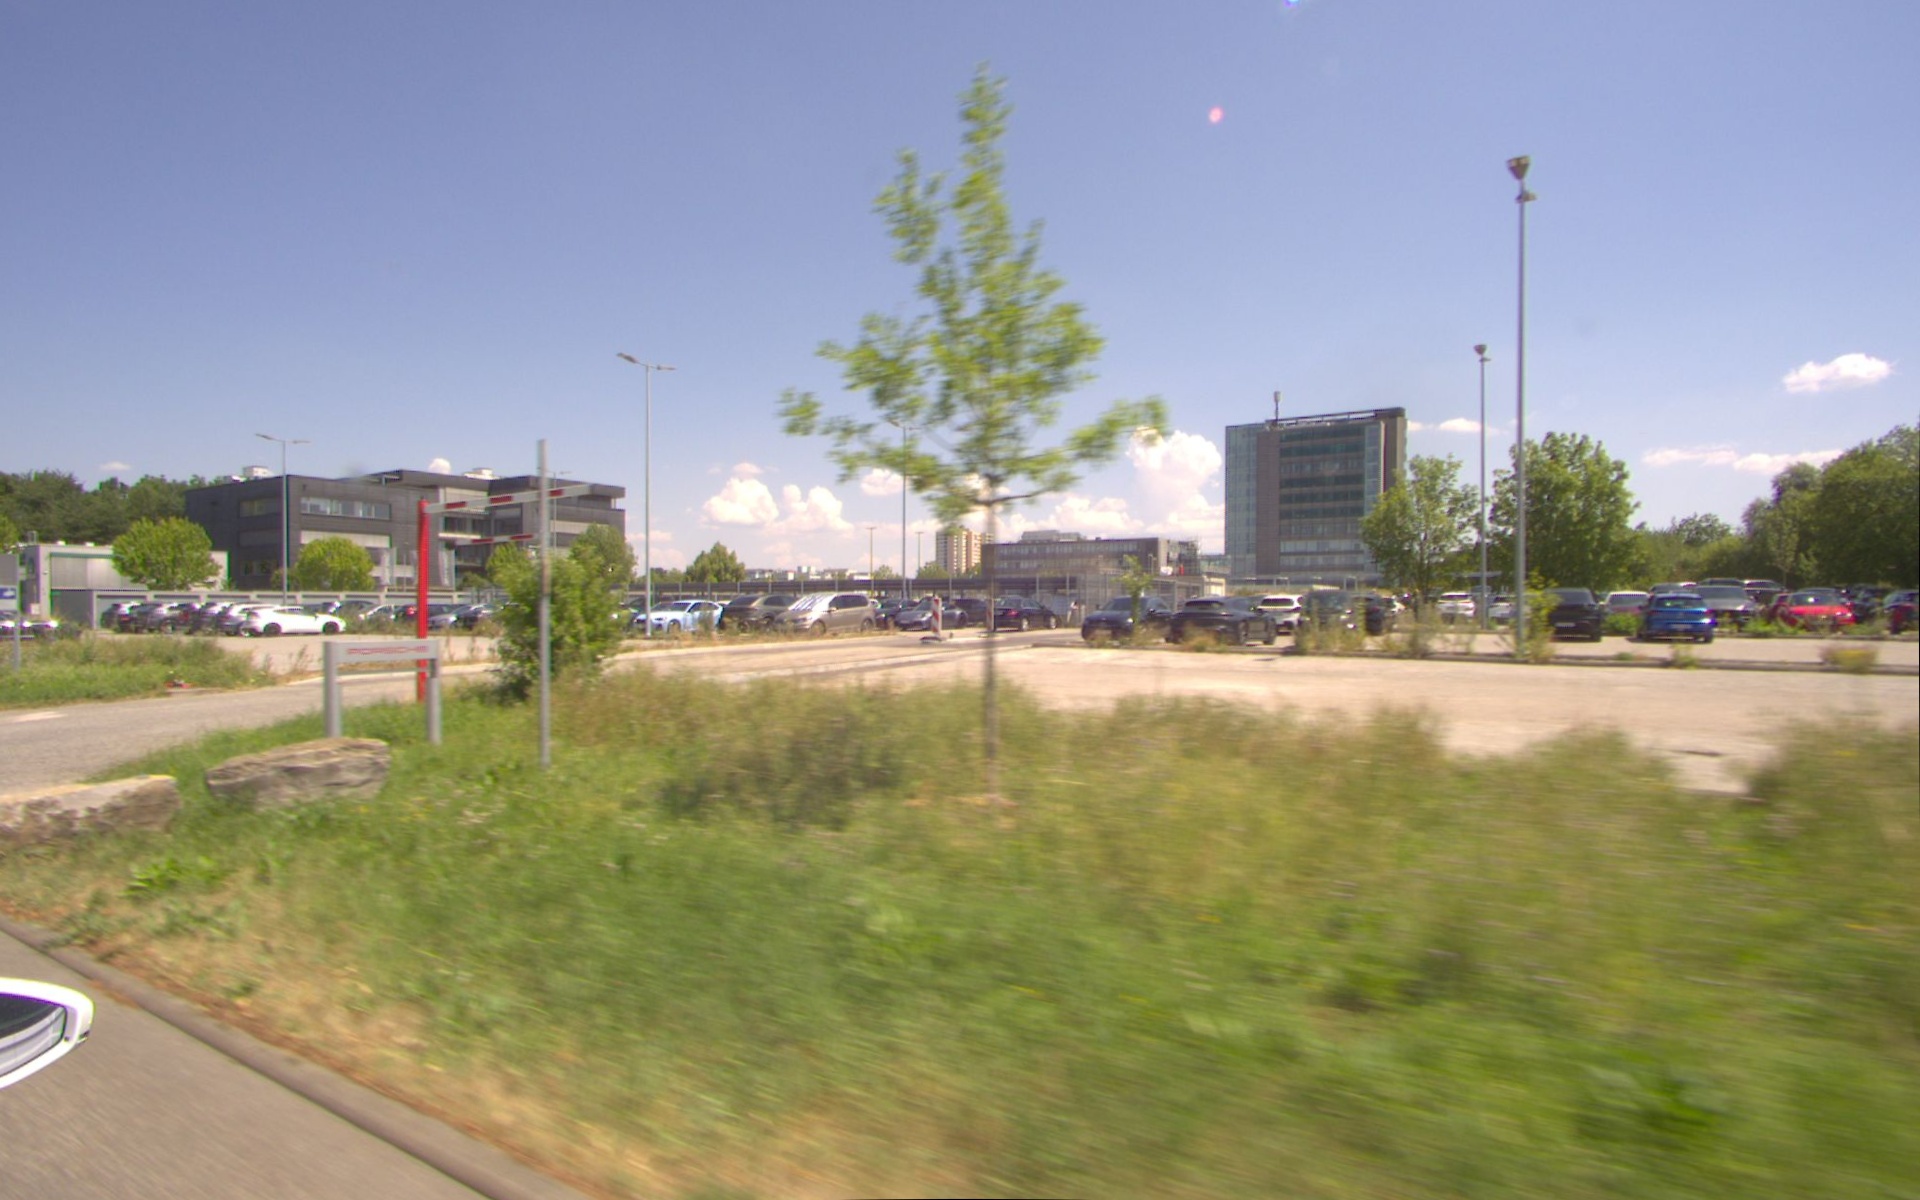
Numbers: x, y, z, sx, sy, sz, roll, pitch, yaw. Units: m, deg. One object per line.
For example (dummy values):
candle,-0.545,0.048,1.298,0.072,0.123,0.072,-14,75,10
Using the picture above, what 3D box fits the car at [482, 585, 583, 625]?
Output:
car,-19.321,0.197,45.376,1.741,1.618,3.981,4,3,29

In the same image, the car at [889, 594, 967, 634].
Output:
car,-1.437,0.594,46.064,1.741,1.618,3.981,4,3,29

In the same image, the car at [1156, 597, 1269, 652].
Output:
car,7.077,0.629,27.789,1.900,1.414,3.978,0,0,33

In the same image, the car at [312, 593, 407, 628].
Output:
car,-31.532,0.503,52.677,1.741,1.618,3.981,4,3,29

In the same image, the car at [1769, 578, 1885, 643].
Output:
car,28.608,0.280,33.202,1.969,1.908,3.981,4,3,28

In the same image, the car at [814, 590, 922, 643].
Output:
car,-3.133,0.515,34.872,1.741,1.618,3.981,4,3,29

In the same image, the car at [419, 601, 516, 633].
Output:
car,-23.948,0.802,48.834,1.741,1.289,3.981,4,3,29

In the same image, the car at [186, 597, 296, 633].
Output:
car,-34.932,0.706,48.745,1.741,1.511,3.981,4,3,29

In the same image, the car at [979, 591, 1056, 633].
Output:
car,2.551,0.486,43.753,1.741,1.618,3.981,4,3,29

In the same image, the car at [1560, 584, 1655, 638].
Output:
car,22.910,0.346,35.603,1.965,1.663,3.989,3,3,21

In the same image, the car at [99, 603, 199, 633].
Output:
car,-45.240,0.979,55.959,1.741,1.420,3.981,4,3,29

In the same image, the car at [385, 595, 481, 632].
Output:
car,-26.397,0.624,50.261,1.741,1.618,3.981,4,3,29

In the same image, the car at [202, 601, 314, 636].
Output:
car,-33.053,0.821,47.240,1.741,1.420,3.981,4,3,29

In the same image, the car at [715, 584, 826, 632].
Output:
car,-7.113,0.233,37.984,1.741,1.618,4.359,4,3,29

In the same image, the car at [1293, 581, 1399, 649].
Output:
car,10.458,0.366,26.952,1.900,1.663,3.978,0,0,33

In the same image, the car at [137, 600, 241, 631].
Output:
car,-40.541,0.797,52.721,1.741,1.420,3.981,4,3,29

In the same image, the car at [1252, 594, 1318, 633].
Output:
car,12.199,0.477,37.459,1.670,1.359,3.983,-1,0,28

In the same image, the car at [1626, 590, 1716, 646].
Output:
car,21.793,0.494,30.831,1.706,1.484,3.791,4,3,28

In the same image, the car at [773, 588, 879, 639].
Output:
car,-4.772,0.443,36.156,1.741,1.618,3.981,4,3,29

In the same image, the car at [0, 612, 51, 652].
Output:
car,-38.467,1.290,39.050,1.741,1.420,4.156,4,3,29

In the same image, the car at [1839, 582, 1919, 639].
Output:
car,30.529,0.320,32.241,1.965,1.663,3.989,3,3,21

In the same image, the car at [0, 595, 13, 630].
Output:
car,-42.671,0.566,41.870,1.741,1.420,4.156,4,3,29

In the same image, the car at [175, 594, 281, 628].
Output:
car,-36.917,0.534,50.596,1.741,1.482,3.981,4,3,29

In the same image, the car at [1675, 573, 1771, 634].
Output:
car,26.500,0.072,34.933,1.969,1.908,3.981,4,3,28

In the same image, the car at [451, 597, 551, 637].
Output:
car,-21.325,0.750,46.693,1.741,1.618,3.981,4,3,29

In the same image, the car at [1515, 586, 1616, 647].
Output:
car,19.044,0.464,31.691,1.965,1.663,3.989,3,3,21

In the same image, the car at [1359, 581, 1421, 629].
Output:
car,16.732,0.153,39.118,1.965,1.663,3.989,3,3,21

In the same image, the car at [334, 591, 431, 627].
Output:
car,-29.365,0.434,51.037,1.741,1.618,3.981,4,3,29

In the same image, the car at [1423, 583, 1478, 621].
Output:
car,24.075,0.060,49.276,1.965,1.663,3.989,3,3,21

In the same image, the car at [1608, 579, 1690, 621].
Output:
car,30.226,-0.061,44.070,1.965,1.663,3.989,3,3,21

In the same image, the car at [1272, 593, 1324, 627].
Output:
car,18.306,0.514,54.133,1.768,1.663,3.978,4,3,32

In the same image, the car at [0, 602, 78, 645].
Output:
car,-36.227,0.887,37.352,1.894,1.420,4.689,4,3,35

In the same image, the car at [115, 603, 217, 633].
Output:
car,-42.850,0.938,54.145,1.741,1.420,3.981,4,3,29

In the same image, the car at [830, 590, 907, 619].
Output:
car,-4.339,0.202,47.967,1.704,1.209,3.982,4,3,28

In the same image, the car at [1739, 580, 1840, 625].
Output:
car,34.785,0.053,42.123,1.965,1.663,3.989,3,3,21

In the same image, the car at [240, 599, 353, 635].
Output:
car,-30.488,0.734,46.111,1.742,1.420,3.979,4,3,30

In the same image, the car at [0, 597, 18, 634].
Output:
car,-41.106,0.684,40.402,1.741,1.420,4.156,4,3,29

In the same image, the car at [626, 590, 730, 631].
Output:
car,-11.306,0.381,40.375,1.741,1.412,3.981,4,3,29

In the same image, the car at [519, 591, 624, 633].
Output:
car,-16.827,0.476,43.512,1.832,1.618,3.981,4,3,29

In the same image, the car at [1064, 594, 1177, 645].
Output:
car,4.871,0.538,29.948,1.900,1.414,3.978,0,0,33

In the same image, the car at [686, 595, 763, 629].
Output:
car,-12.524,0.601,53.424,1.741,1.618,3.981,4,3,29

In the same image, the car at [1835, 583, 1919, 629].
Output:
car,37.570,0.223,40.460,1.965,1.663,3.989,3,3,21
